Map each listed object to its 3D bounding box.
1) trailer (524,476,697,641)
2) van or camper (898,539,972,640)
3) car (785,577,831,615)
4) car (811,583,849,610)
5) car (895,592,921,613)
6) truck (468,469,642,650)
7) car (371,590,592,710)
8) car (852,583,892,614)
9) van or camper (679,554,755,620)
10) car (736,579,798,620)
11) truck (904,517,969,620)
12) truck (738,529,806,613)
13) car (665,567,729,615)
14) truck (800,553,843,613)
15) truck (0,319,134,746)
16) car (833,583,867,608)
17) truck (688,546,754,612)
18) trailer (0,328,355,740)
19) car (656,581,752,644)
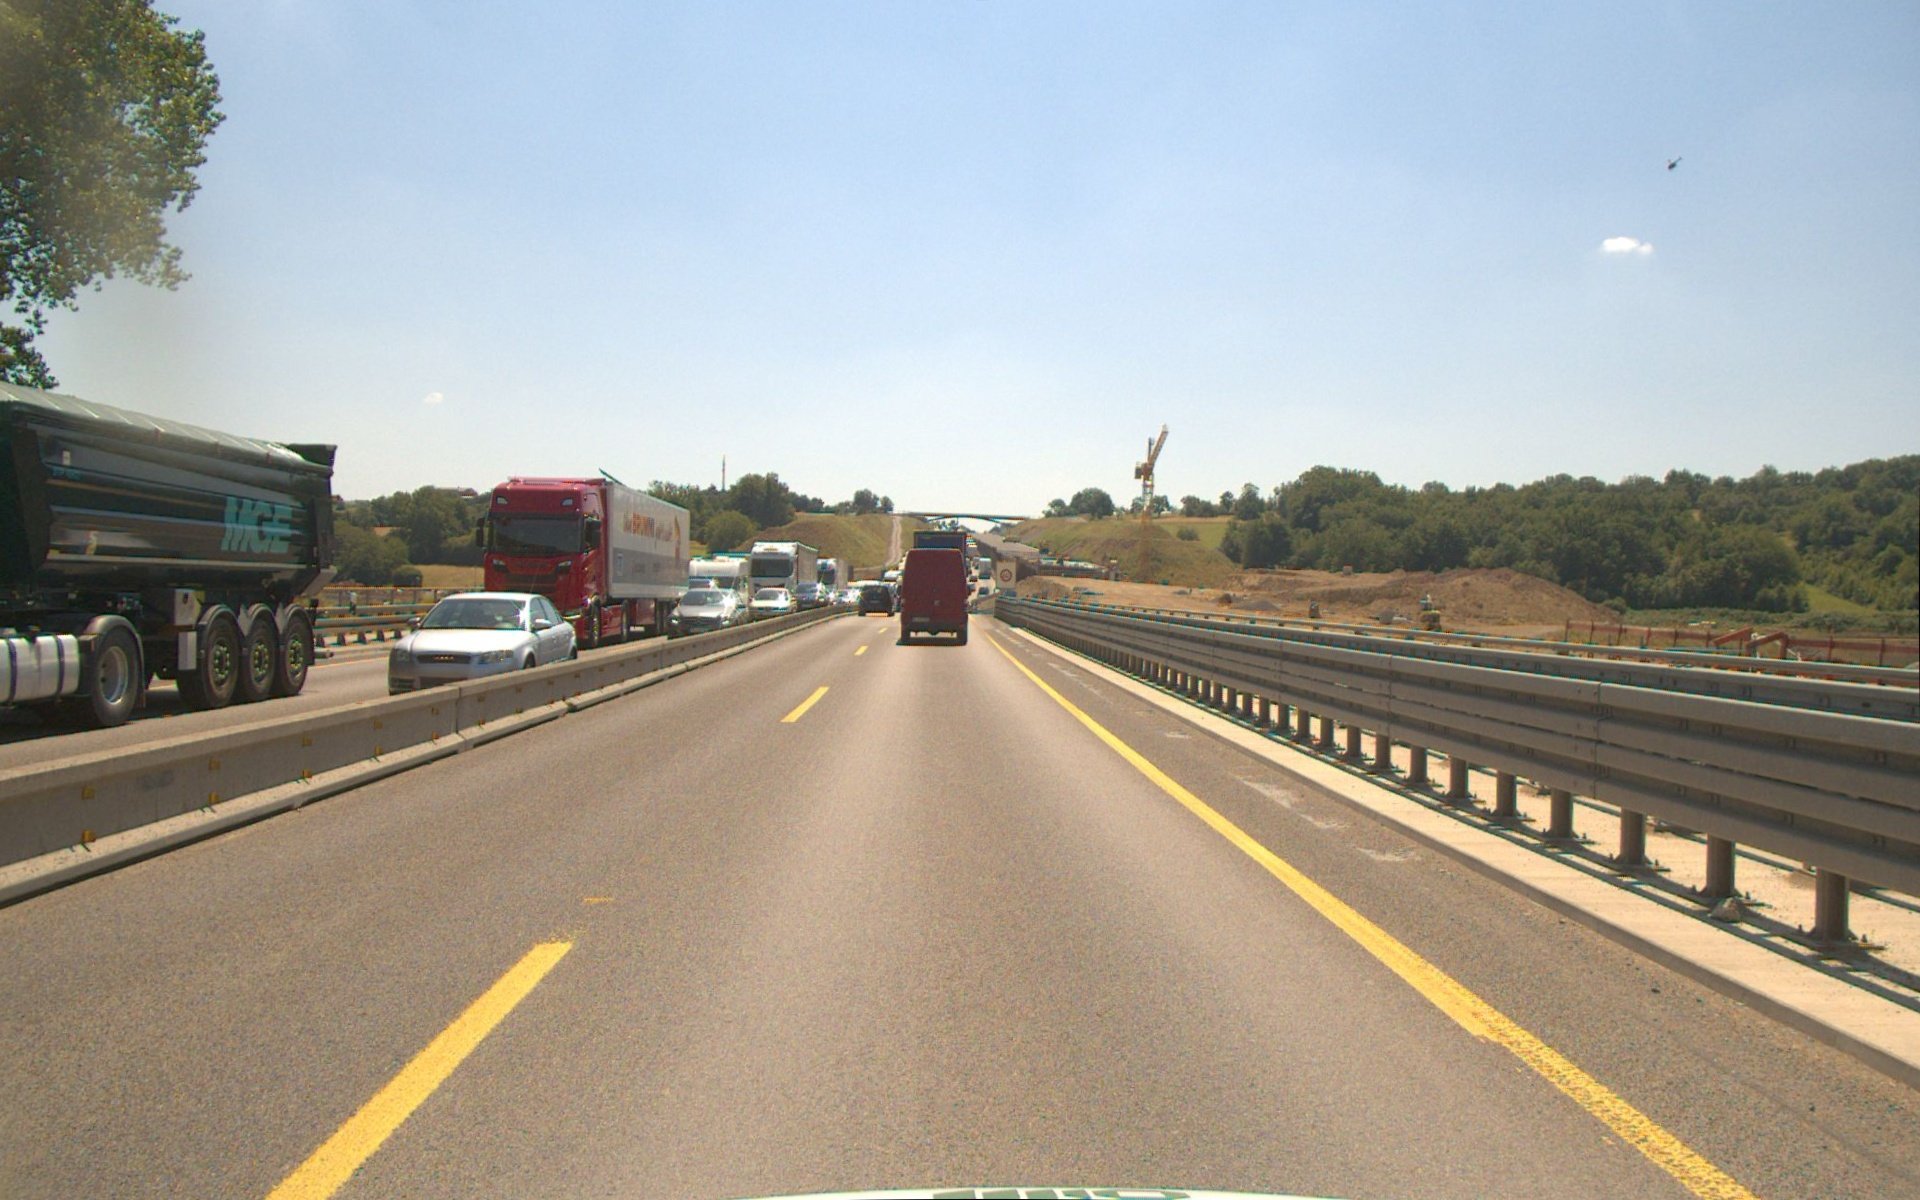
[{"bbox_3d":[-10.056,-1.175,49.071,2.749,4.249,11.797,1,1,-1],"label":"trailer"},{"bbox_3d":[-0.770,-0.304,48.398,1.988,2.792,4.513,1,0,-3],"label":"van or camper"},{"bbox_3d":[-7.373,-0.199,80.394,1.810,1.717,4.617,3,0,-1],"label":"car"},{"bbox_3d":[-7.350,-0.228,93.875,1.741,1.445,4.537,2,0,0],"label":"car"},{"bbox_3d":[-4.116,0.214,132.218,1.971,1.572,4.131,2,0,-1],"label":"car"},{"bbox_3d":[-9.916,-0.973,41.178,2.759,4.107,6.521,1,1,-1],"label":"truck"},{"bbox_3d":[-6.299,0.590,22.314,1.745,1.404,4.709,-1,0,-2],"label":"car"},{"bbox_3d":[-4.568,-0.077,86.510,1.971,1.572,4.130,1,0,-2],"label":"car"},{"bbox_3d":[-10.413,-0.558,71.341,2.452,2.746,5.243,1,0,0],"label":"van or camper"},{"bbox_3d":[-7.622,-0.058,65.696,1.862,1.487,4.195,-2,1,1],"label":"car"},{"bbox_3d":[-1.231,-1.511,81.450,2.960,4.775,6.929,-1,0,-3],"label":"truck"},{"bbox_3d":[-10.692,-1.610,94.818,3.015,4.616,7.102,1,0,0],"label":"truck"},{"bbox_3d":[-10.190,-0.360,64.371,1.731,1.764,4.790,2,0,-1],"label":"car"},{"bbox_3d":[-10.700,-1.318,128.161,2.749,4.469,6.225,0,0,0],"label":"truck"},{"bbox_3d":[-9.866,-0.611,14.373,2.740,3.787,5.372,1,0,-2],"label":"truck"},{"bbox_3d":[-7.129,-0.307,107.239,1.827,1.484,4.607,2,0,0],"label":"car"},{"bbox_3d":[-14.677,-1.314,101.978,2.845,3.830,8.366,2,1,-1],"label":"truck"},{"bbox_3d":[-10.003,-0.622,19.429,2.738,3.737,8.953,1,0,-2],"label":"trailer"},{"bbox_3d":[-6.860,0.312,44.792,1.852,1.513,4.918,3,0,-1],"label":"car"}]
